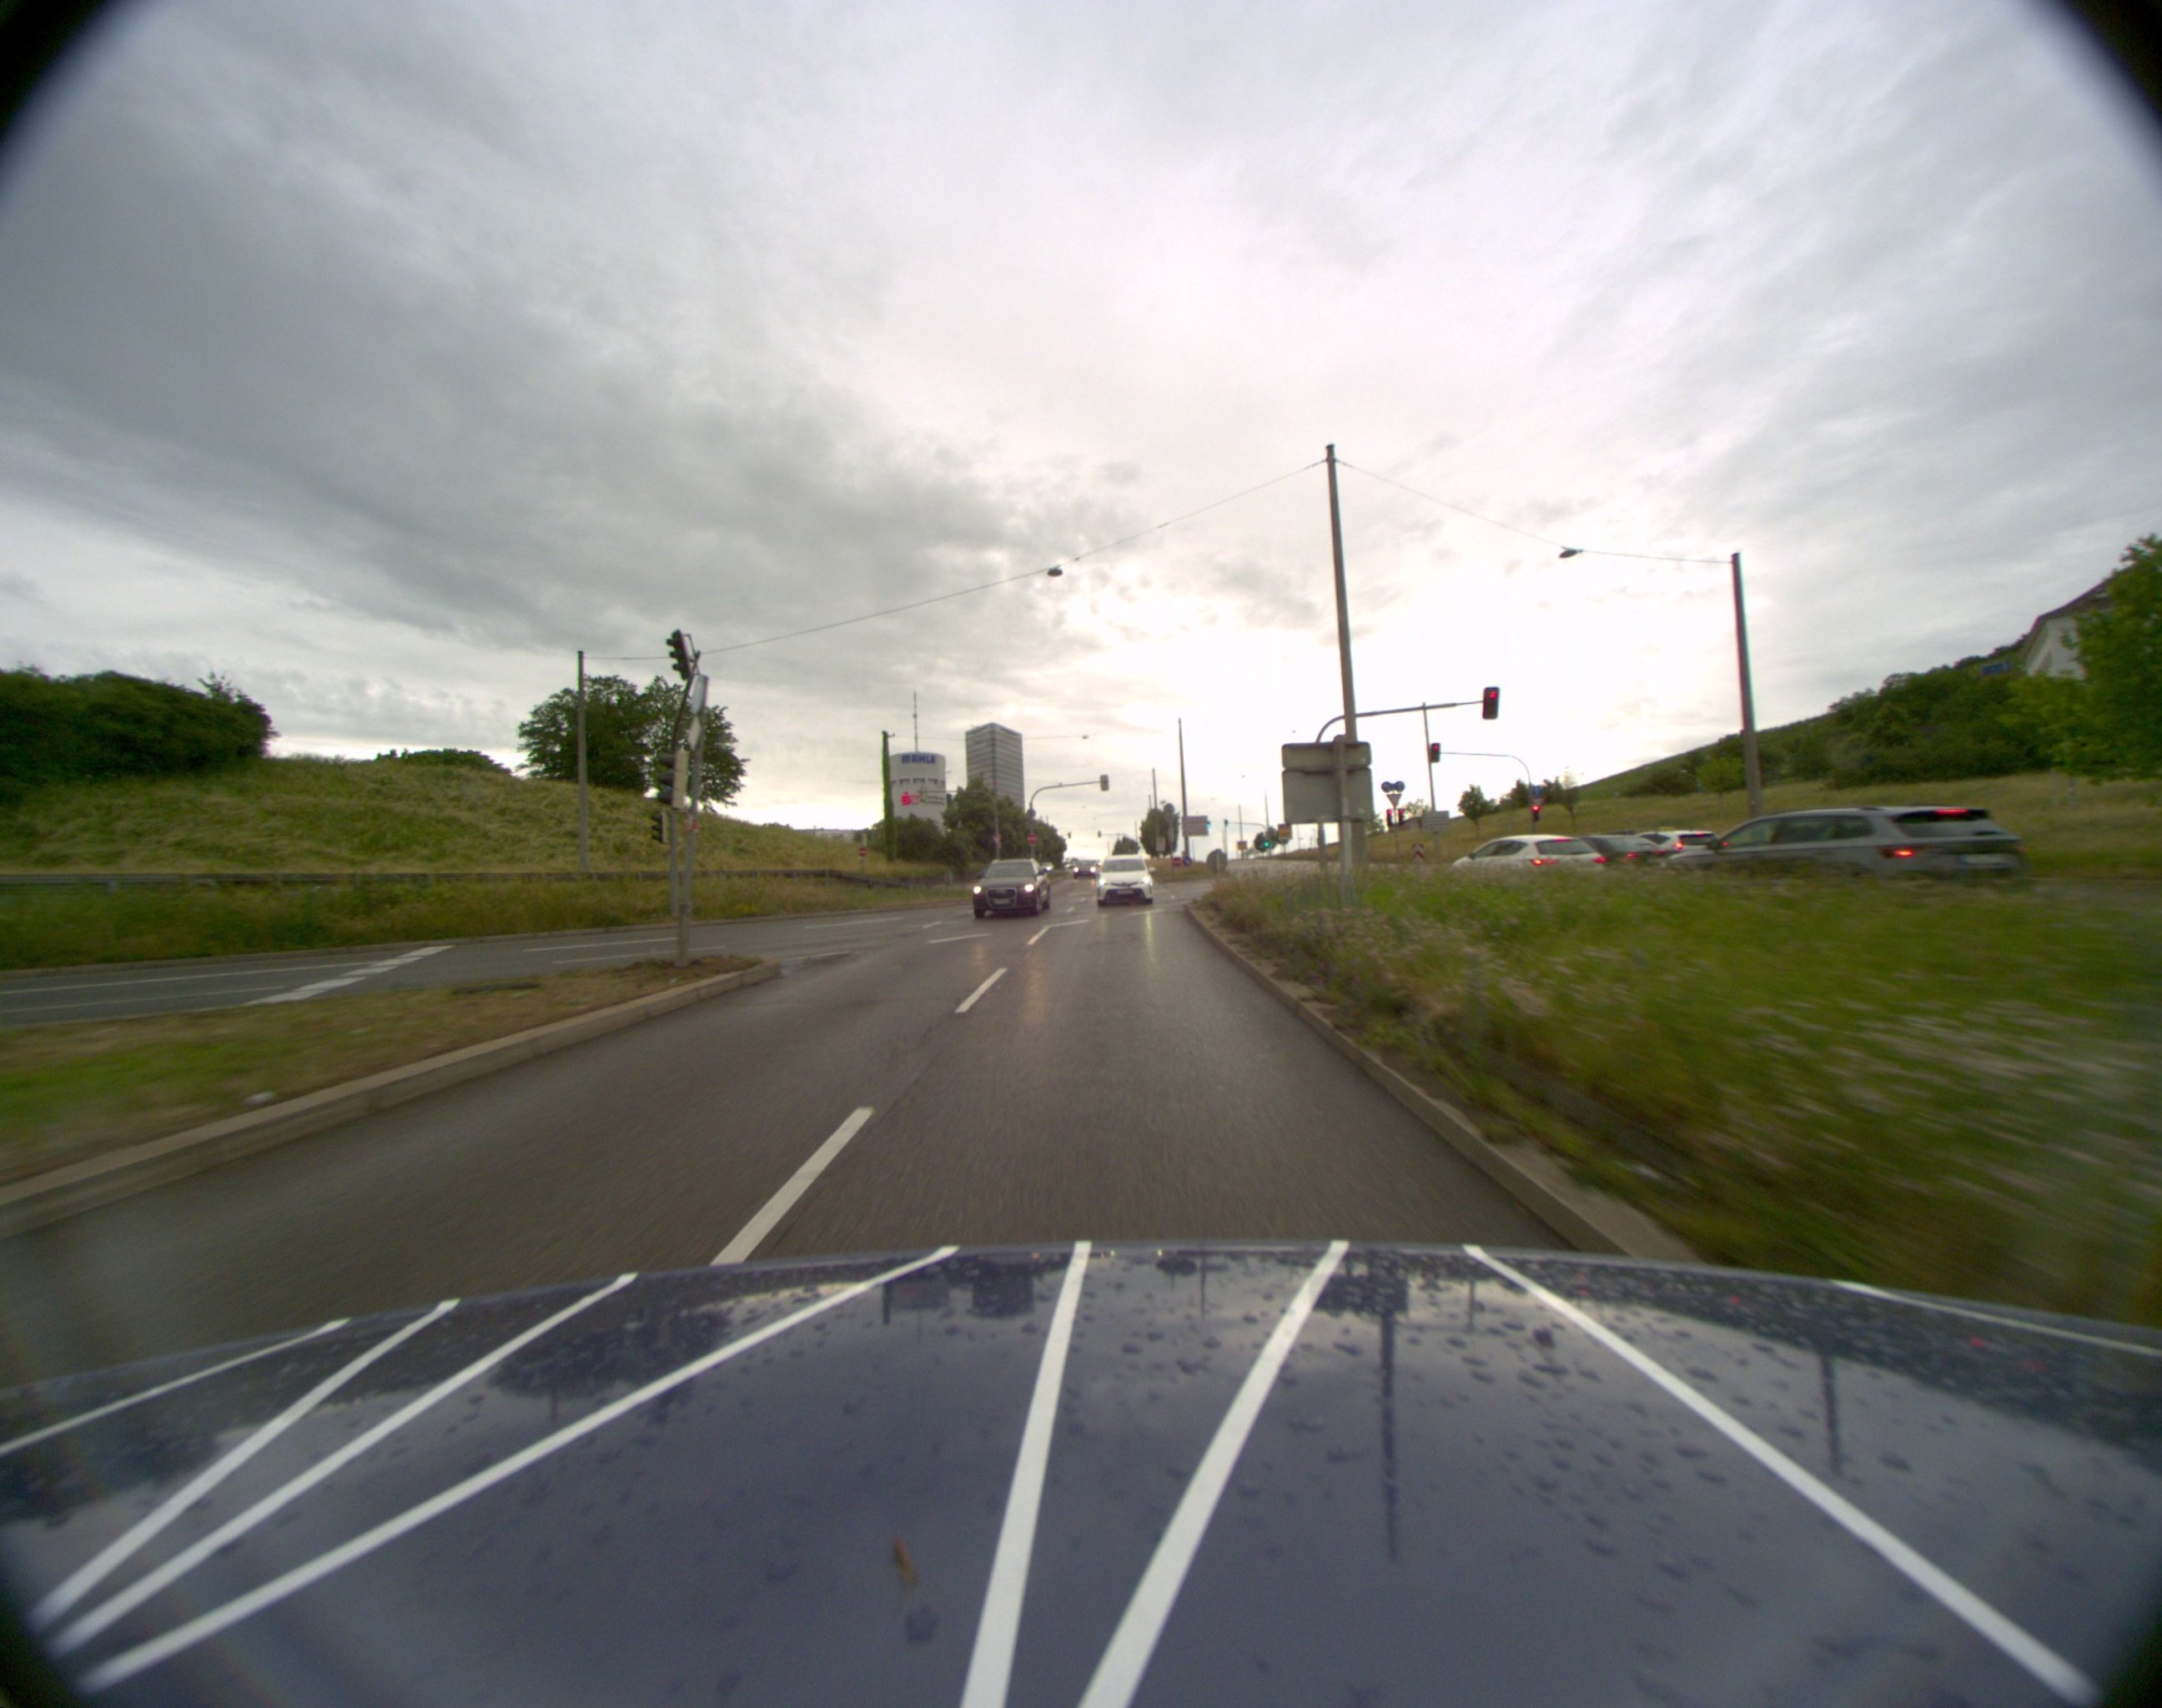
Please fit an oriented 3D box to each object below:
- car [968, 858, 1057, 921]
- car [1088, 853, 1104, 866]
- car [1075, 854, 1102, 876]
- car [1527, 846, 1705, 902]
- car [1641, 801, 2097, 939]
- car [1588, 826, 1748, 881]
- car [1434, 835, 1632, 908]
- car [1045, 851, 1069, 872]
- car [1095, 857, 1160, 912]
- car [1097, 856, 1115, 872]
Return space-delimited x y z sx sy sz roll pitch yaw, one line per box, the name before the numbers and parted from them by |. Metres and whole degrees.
car | -1.922 0.976 22.570 1.927 1.591 4.280 -4 -1 3
car | 2.011 0.739 99.416 1.782 1.591 4.121 -2 -1 4
car | 0.625 0.865 59.561 1.782 1.591 3.901 -2 -1 4
car | 13.927 0.487 20.099 1.807 1.299 4.018 -1 0 -1
car | 10.918 0.202 11.162 1.999 1.503 4.437 -3 0 -1
car | 20.273 0.007 26.555 1.998 1.634 4.800 -3 0 3
car | 10.520 0.380 18.163 1.966 1.414 4.437 -3 0 -1
car | -2.448 0.739 77.356 1.998 2.002 4.001 -3 0 3
car | 1.556 0.937 25.407 1.924 1.604 4.376 -2 0 4
car | 2.754 1.095 82.183 1.782 1.591 4.121 -2 -1 4
